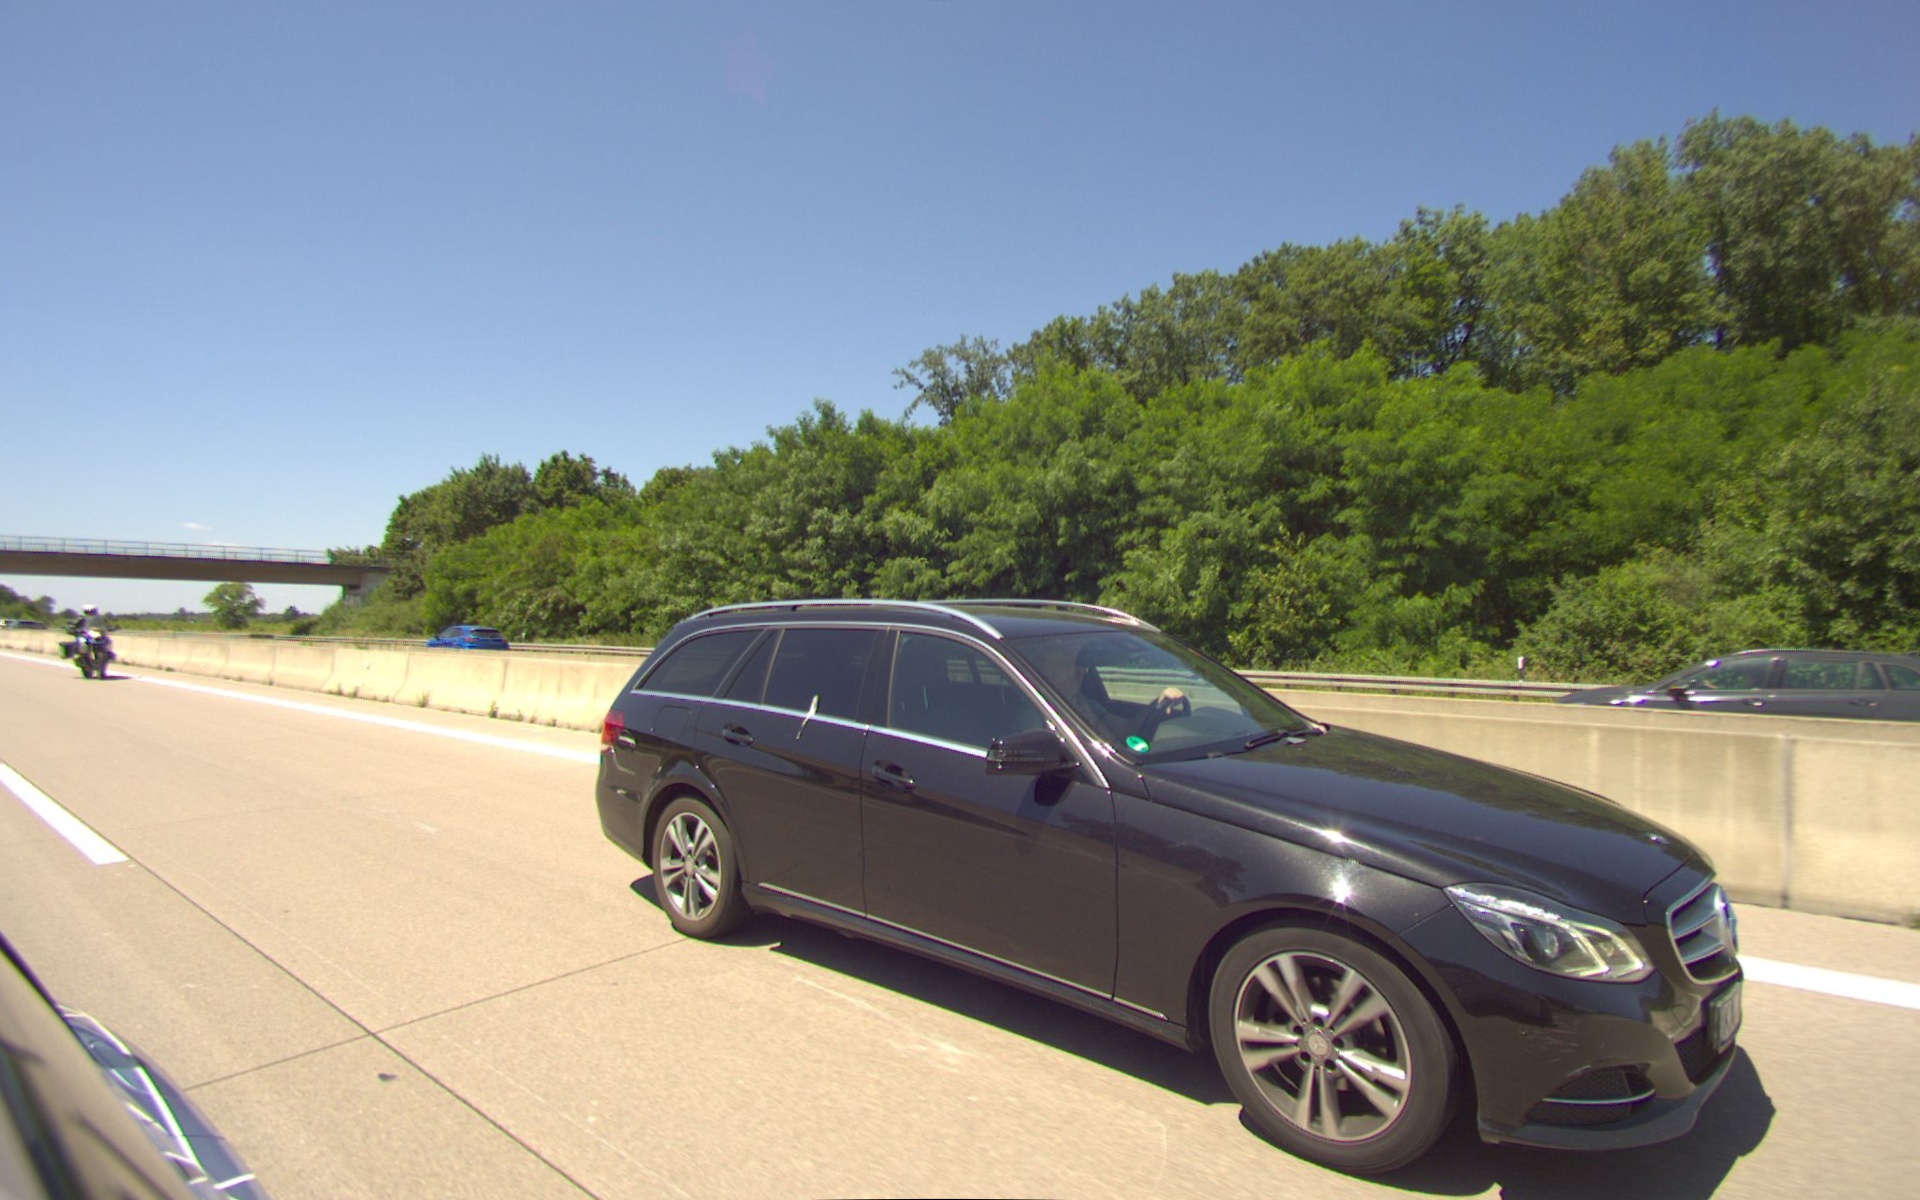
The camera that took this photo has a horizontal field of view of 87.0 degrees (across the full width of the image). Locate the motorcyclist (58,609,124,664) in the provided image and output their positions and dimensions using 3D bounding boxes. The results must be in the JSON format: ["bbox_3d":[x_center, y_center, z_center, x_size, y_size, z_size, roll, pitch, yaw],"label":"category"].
[{"bbox_3d":[-19.993,0.828,23.279,0.911,1.218,1.014,-2,-2,41],"label":"motorcyclist"}]

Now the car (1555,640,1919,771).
[{"bbox_3d":[9.978,1.171,11.986,4.856,1.325,1.660,-1,-1,40],"label":"car"}]

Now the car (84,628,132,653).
[{"bbox_3d":[-51.955,2.455,61.676,4.013,1.427,1.681,-1,-1,41],"label":"car"}]

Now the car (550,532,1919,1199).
[{"bbox_3d":[0.611,0.684,4.070,5.600,1.484,1.871,-2,-2,41],"label":"car"}]

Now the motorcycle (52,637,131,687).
[{"bbox_3d":[-19.966,1.387,23.243,2.411,1.056,1.011,-2,-1,40],"label":"motorcycle"}]

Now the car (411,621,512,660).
[{"bbox_3d":[-18.596,1.471,37.676,4.504,1.396,1.692,-1,-1,40],"label":"car"}]
